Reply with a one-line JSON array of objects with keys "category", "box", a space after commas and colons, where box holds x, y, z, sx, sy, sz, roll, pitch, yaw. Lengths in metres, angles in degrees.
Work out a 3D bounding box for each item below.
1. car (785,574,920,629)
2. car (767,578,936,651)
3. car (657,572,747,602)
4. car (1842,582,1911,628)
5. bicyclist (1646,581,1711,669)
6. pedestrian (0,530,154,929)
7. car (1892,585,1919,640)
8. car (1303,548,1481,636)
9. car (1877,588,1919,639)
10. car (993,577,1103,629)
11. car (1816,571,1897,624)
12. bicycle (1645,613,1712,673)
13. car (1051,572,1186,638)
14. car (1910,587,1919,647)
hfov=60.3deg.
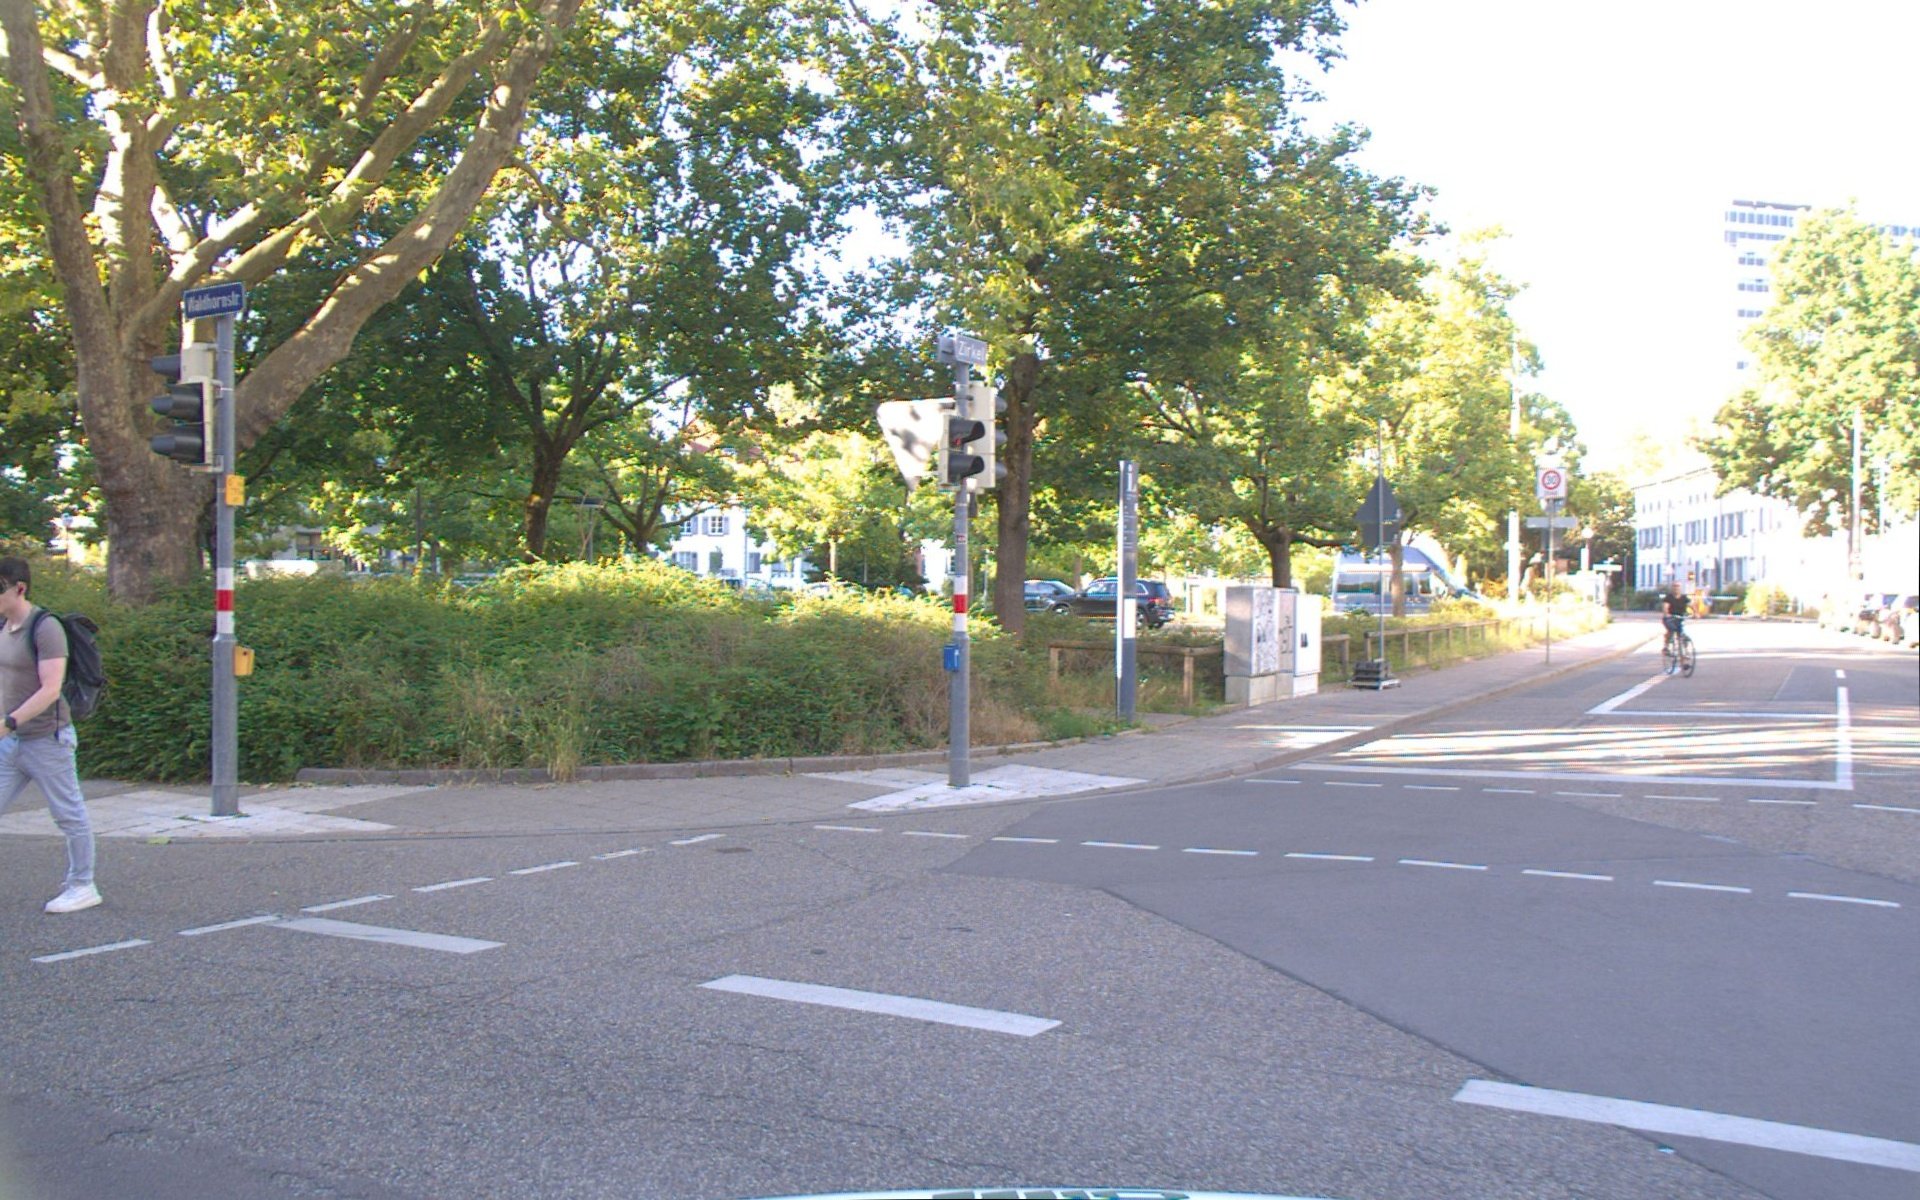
[{"category": "car", "box": [-3.446, 0.034, 53.080, 3.914, 1.654, 1.920, 1, -1, 31]}, {"category": "car", "box": [-2.909, 0.362, 44.098, 4.216, 1.843, 1.785, 1, 0, 29]}, {"category": "car", "box": [-13.983, -0.730, 89.481, 4.557, 1.501, 2.010, 1, -1, 31]}, {"category": "car", "box": [31.655, 0.146, 57.174, 1.591, 1.516, 3.603, 1, 1, 21]}, {"category": "bicyclist", "box": [13.090, 0.442, 30.151, 0.856, 1.562, 1.089, 1, 0, 11]}, {"category": "pedestrian", "box": [-4.449, 0.578, 7.867, 0.734, 1.803, 0.879, 1, 0, 40]}, {"category": "car", "box": [27.792, 0.352, 47.559, 1.594, 1.511, 3.845, 1, 1, 28]}, {"category": "car", "box": [13.493, -0.280, 51.701, 5.045, 2.617, 1.997, 1, 1, 29]}, {"category": "car", "box": [29.842, 0.406, 52.117, 1.594, 1.511, 3.845, 1, 1, 28]}, {"category": "car", "box": [3.517, 0.115, 66.262, 3.956, 1.981, 1.921, 1, -1, 29]}, {"category": "car", "box": [33.710, -0.143, 62.325, 2.040, 1.817, 4.914, 0, 2, 21]}, {"category": "bicycle", "box": [13.087, 0.766, 30.186, 0.701, 1.035, 2.026, -1, 0, 11]}, {"category": "car", "box": [5.390, 0.137, 56.339, 4.217, 2.125, 1.785, 1, 1, 29]}, {"category": "car", "box": [25.818, 0.421, 43.207, 1.594, 1.511, 3.845, 1, 1, 28]}]
